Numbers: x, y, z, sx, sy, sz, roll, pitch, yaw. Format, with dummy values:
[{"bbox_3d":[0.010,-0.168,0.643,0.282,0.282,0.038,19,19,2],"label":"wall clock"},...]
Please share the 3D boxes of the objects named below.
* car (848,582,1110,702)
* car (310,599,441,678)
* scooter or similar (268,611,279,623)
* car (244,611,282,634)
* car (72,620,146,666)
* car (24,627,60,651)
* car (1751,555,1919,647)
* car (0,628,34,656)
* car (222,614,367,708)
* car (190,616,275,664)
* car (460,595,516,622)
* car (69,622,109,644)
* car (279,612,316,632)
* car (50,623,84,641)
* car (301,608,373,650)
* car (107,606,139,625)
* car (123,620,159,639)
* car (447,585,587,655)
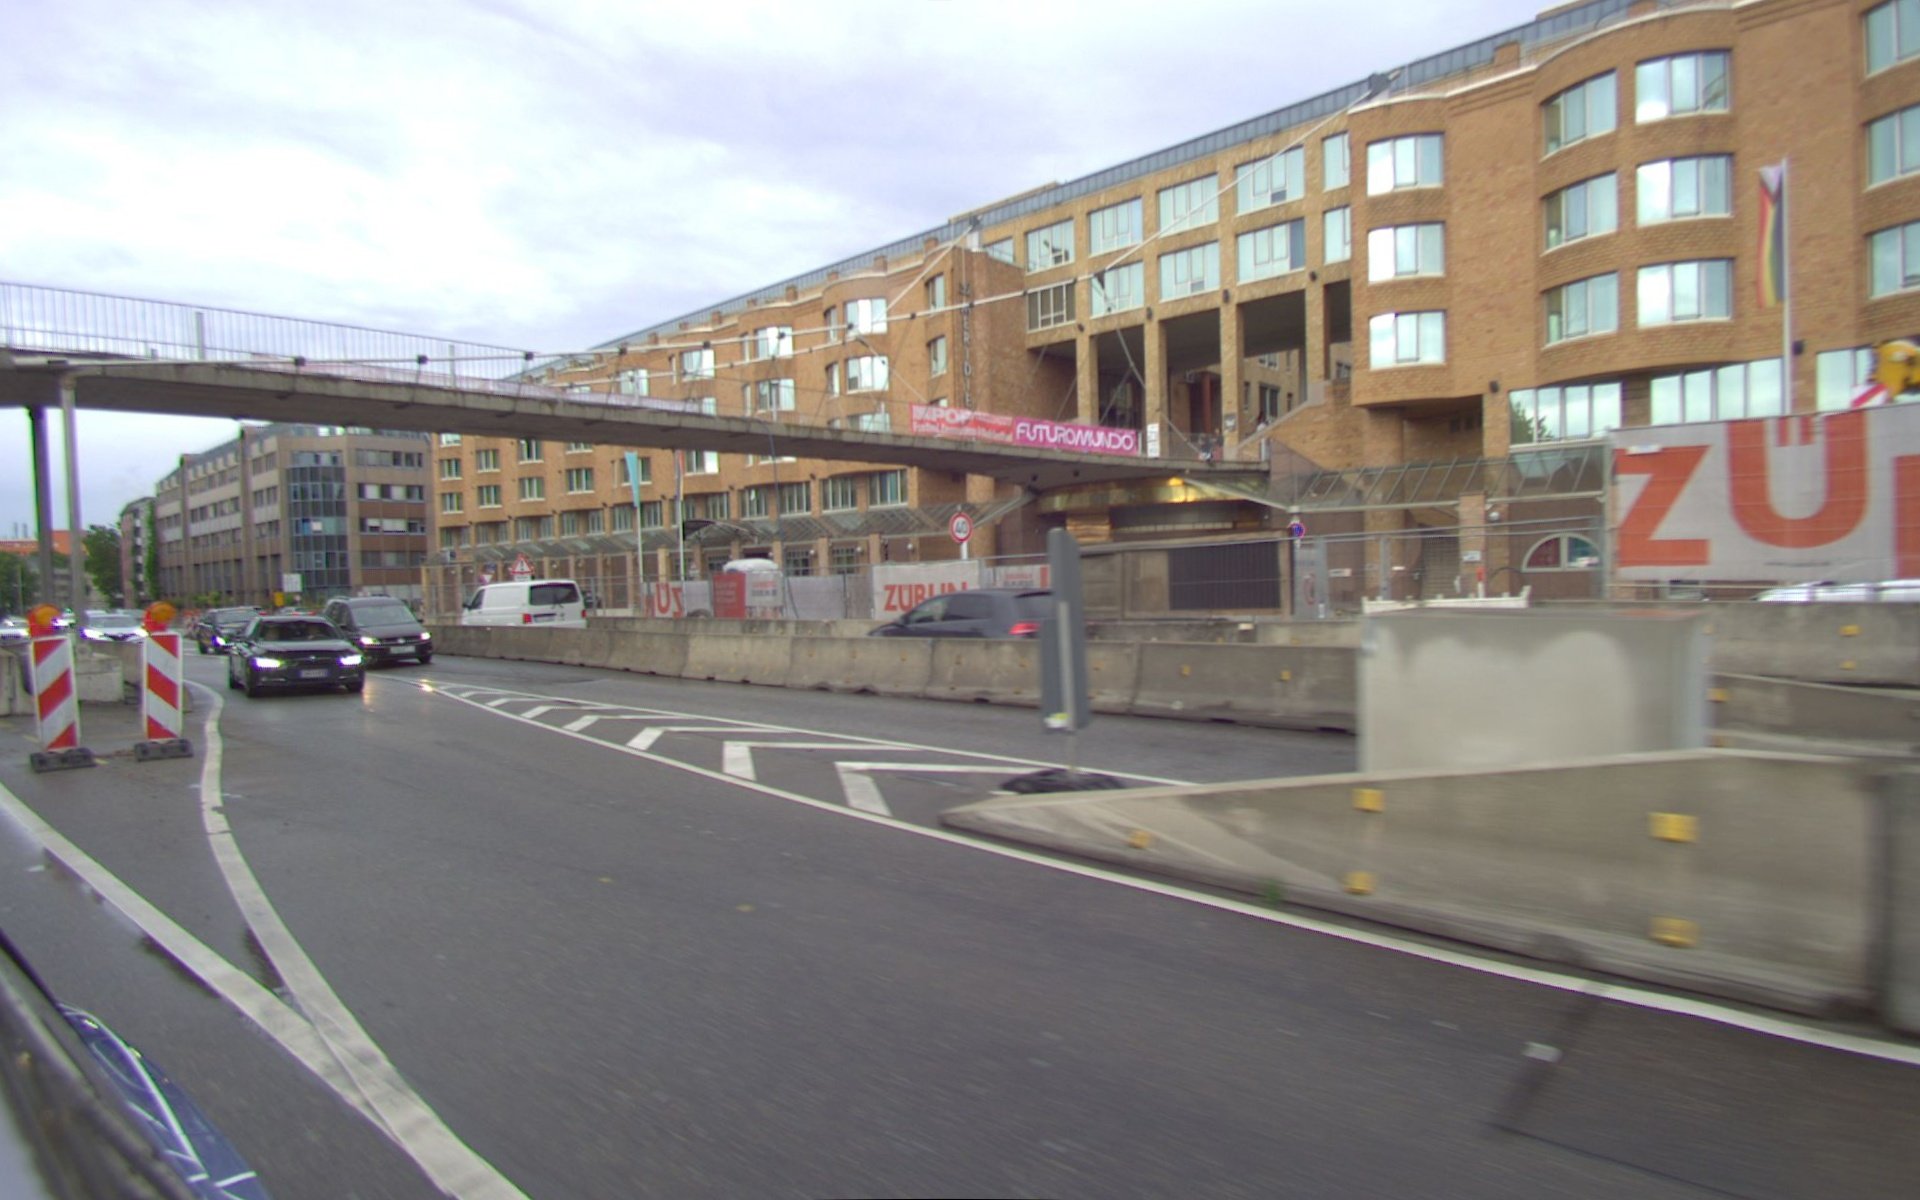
[{"bbox_3d":[0.197,0.628,16.113,1.785,1.635,4.036,-3,0,-45],"label":"car"},{"bbox_3d":[-15.325,0.969,26.447,4.252,1.814,1.774,-1,2,44],"label":"car"},{"bbox_3d":[-67.927,1.684,100.119,1.041,1.071,0.445,-2,1,32],"label":"scooter or similar"},{"bbox_3d":[-53.344,1.729,77.441,1.968,1.635,4.710,-3,0,-39],"label":"car"},{"bbox_3d":[-32.286,1.574,38.358,1.747,1.545,4.659,-4,2,-44],"label":"car"},{"bbox_3d":[-65.050,2.726,71.749,1.746,1.545,4.662,-4,1,-42],"label":"car"},{"bbox_3d":[17.972,0.045,19.672,3.998,1.706,1.973,-1,-2,41],"label":"car"},{"bbox_3d":[-58.594,2.600,62.378,1.745,1.545,4.666,-3,1,-37],"label":"car"},{"bbox_3d":[-12.629,1.038,19.075,1.746,1.454,4.664,-3,1,-39],"label":"car"},{"bbox_3d":[-26.464,1.415,36.765,4.358,1.545,1.748,-1,2,44],"label":"car"},{"bbox_3d":[-36.403,0.660,78.030,5.011,1.900,1.973,-2,1,41],"label":"car"},{"bbox_3d":[-67.618,2.574,78.556,4.655,1.545,1.749,-2,1,42],"label":"car"},{"bbox_3d":[-55.773,1.840,85.146,1.740,1.537,4.367,-2,0,-44],"label":"car"},{"bbox_3d":[-82.932,2.957,93.968,4.655,1.545,1.749,-2,1,42],"label":"car"},{"bbox_3d":[-26.772,1.243,43.452,1.785,1.635,3.905,-3,0,-45],"label":"car"},{"bbox_3d":[-94.650,1.770,114.427,4.867,1.899,1.973,-2,1,41],"label":"car"},{"bbox_3d":[-72.414,2.617,89.477,4.655,1.545,1.749,-2,1,42],"label":"car"},{"bbox_3d":[-12.953,0.605,29.392,5.302,1.835,1.786,-2,0,44],"label":"car"}]
